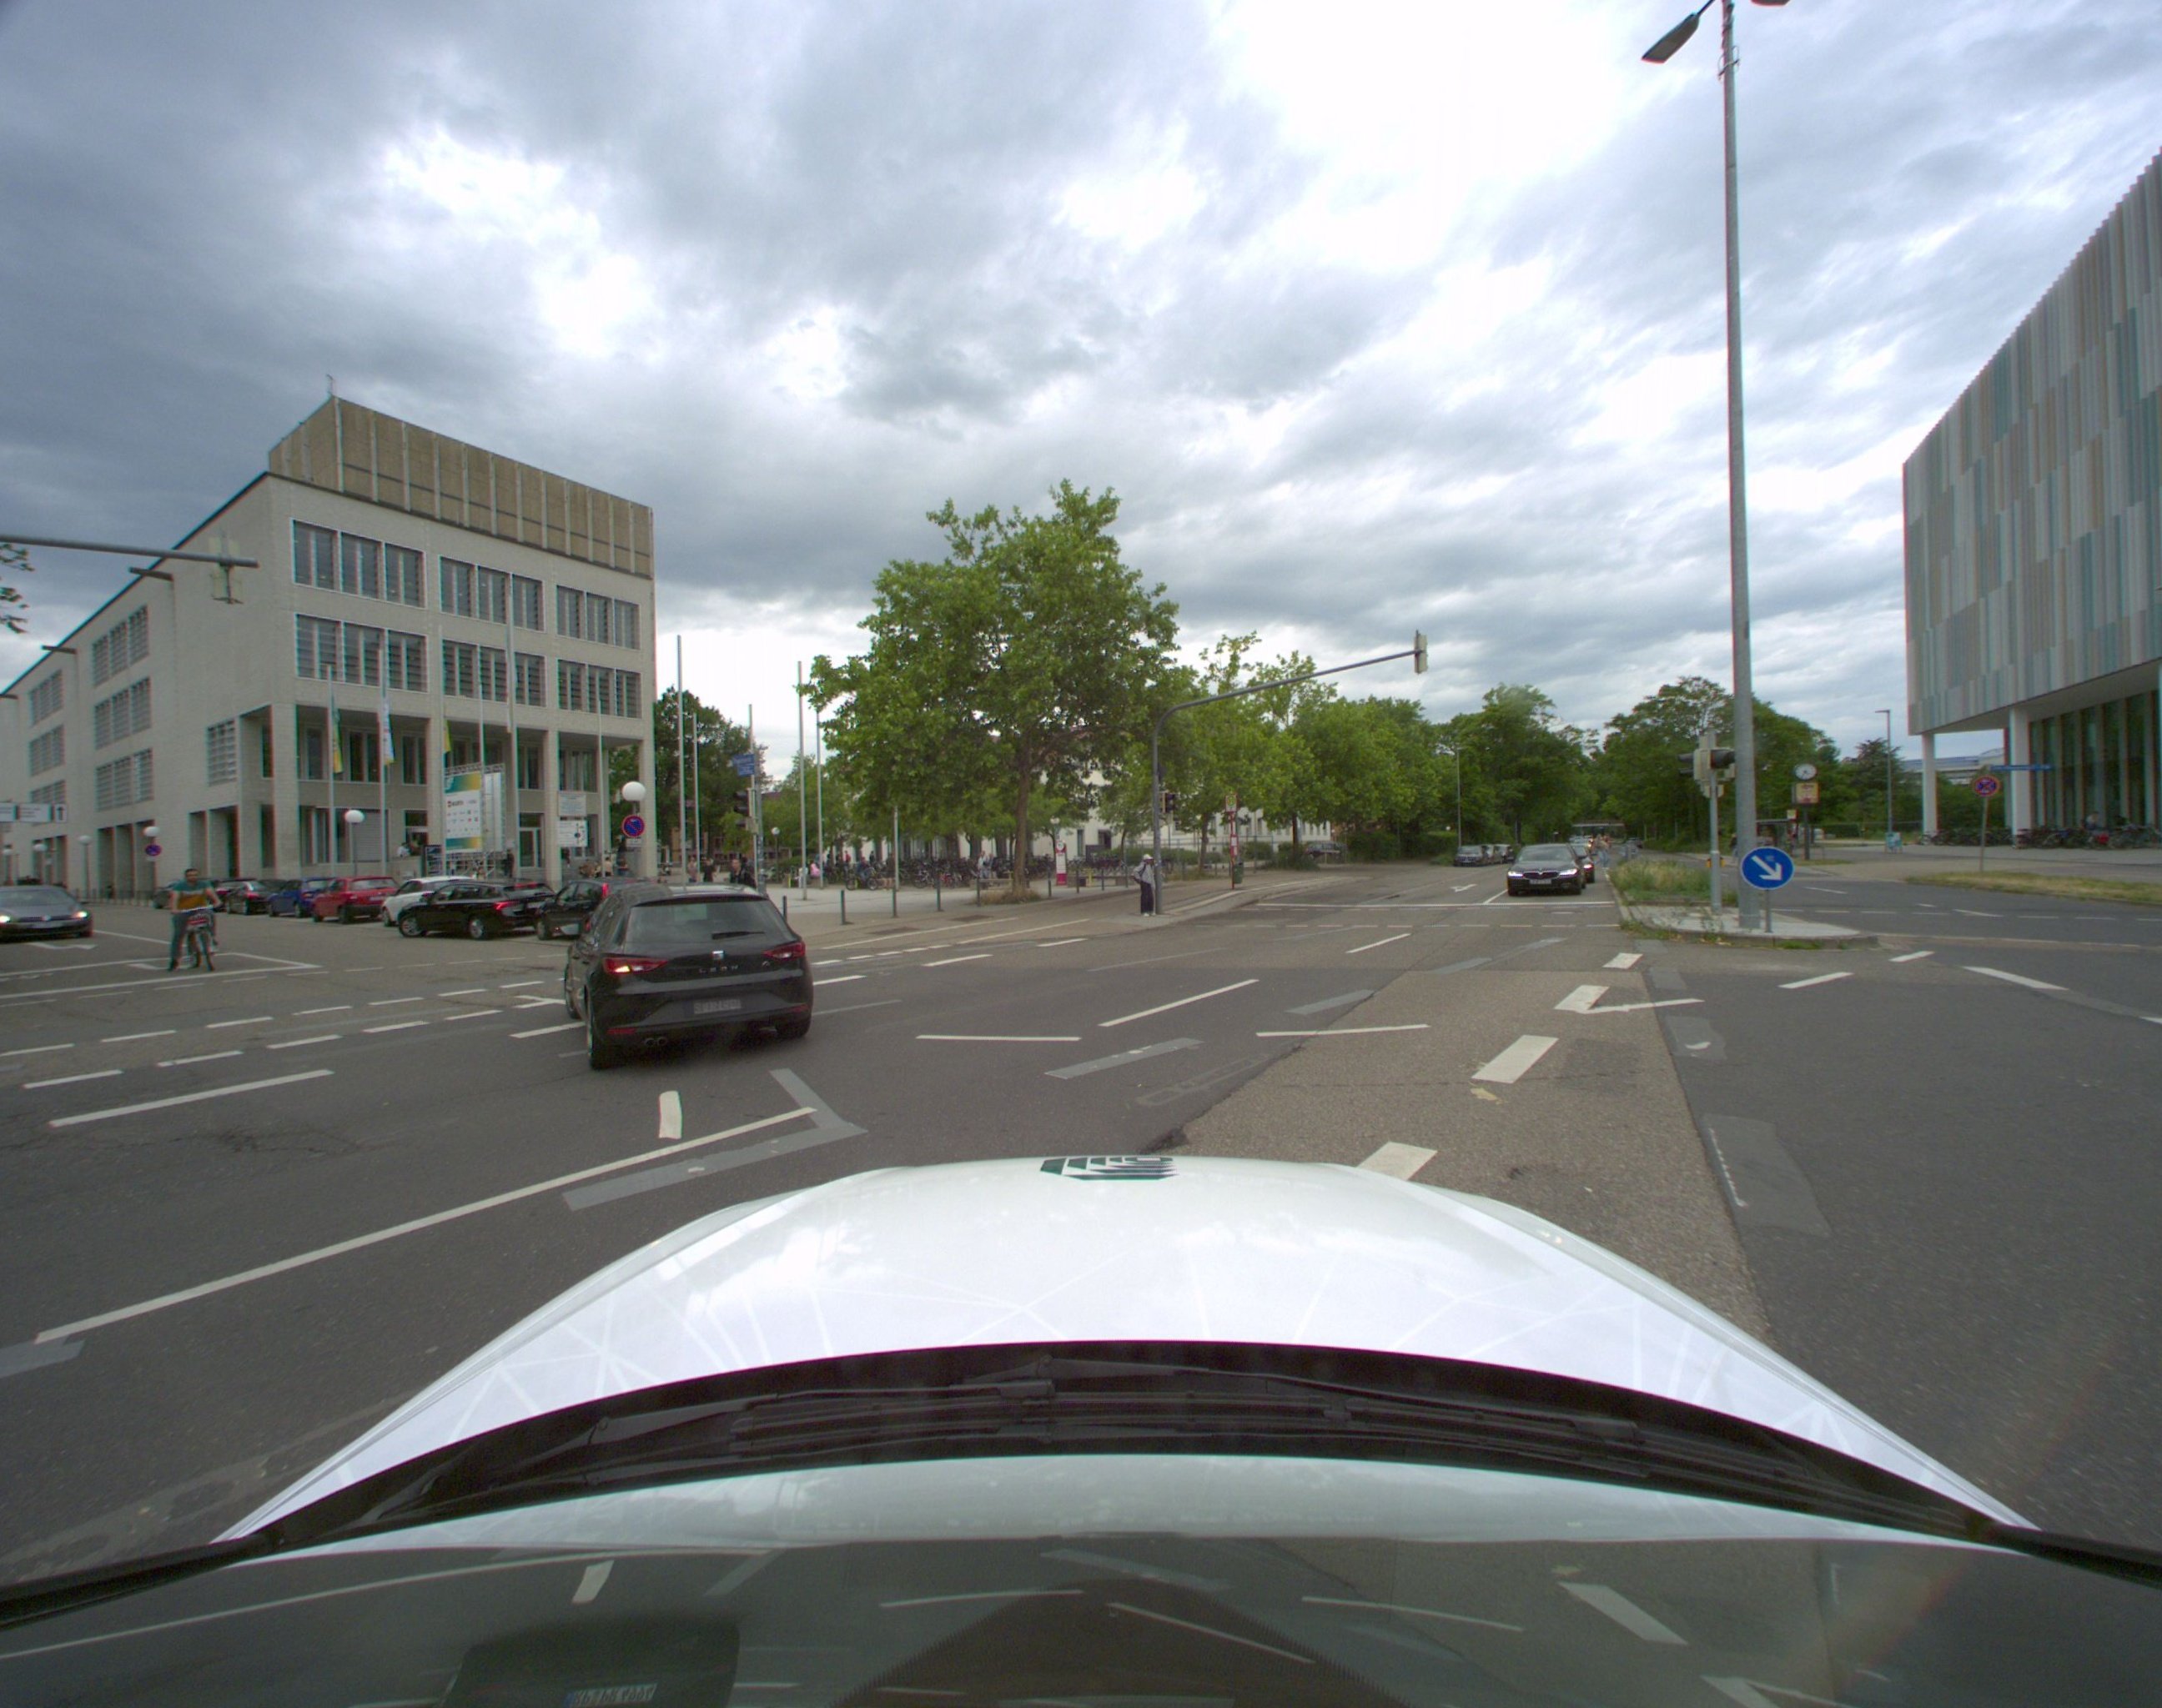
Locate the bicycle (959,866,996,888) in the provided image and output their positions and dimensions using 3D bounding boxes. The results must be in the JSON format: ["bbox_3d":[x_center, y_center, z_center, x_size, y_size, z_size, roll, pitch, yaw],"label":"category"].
[{"bbox_3d":[-5.220,1.166,41.058,1.911,1.049,0.460,-1,1,28],"label":"bicycle"}]

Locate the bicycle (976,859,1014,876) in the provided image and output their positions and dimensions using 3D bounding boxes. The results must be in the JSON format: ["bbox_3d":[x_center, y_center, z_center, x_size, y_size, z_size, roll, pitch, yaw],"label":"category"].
[{"bbox_3d":[-6.505,1.013,61.719,3.068,1.170,0.752,1,1,33],"label":"bicycle"}]

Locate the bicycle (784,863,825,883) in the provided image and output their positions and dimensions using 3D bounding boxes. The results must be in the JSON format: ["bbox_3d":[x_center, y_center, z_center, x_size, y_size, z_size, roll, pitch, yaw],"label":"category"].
[{"bbox_3d":[-17.568,1.172,51.769,3.068,1.170,0.752,1,1,34],"label":"bicycle"}]

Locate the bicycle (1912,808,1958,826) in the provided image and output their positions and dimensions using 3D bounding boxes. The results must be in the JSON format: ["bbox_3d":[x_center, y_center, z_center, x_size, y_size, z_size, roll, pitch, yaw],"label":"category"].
[{"bbox_3d":[59.153,-2.548,56.415,2.077,1.259,0.632,1,1,30],"label":"bicycle"}]

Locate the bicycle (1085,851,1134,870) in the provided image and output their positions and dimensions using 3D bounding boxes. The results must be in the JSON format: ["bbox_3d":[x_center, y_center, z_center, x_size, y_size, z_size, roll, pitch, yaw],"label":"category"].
[{"bbox_3d":[1.931,0.432,55.963,3.350,1.170,1.062,-3,-1,38],"label":"bicycle"}]

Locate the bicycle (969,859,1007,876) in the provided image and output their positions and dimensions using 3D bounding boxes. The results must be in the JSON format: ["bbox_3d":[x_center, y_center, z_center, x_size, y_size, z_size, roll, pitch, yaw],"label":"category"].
[{"bbox_3d":[-6.975,1.018,60.979,3.068,1.170,0.752,1,1,33],"label":"bicycle"}]

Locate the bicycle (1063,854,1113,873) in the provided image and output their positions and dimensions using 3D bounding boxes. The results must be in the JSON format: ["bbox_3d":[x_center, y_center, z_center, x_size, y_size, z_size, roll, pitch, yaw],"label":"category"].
[{"bbox_3d":[0.475,0.591,54.052,3.350,1.170,1.062,1,1,38],"label":"bicycle"}]

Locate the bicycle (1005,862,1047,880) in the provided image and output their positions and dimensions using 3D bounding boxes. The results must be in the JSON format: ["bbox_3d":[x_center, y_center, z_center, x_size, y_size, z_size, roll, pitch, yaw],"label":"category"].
[{"bbox_3d":[-3.829,1.168,56.359,3.068,1.170,0.752,1,1,34],"label":"bicycle"}]

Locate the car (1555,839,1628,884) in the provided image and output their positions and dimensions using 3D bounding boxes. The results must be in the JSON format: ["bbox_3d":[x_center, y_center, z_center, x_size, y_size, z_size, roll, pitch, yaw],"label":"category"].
[{"bbox_3d":[18.451,0.237,29.350,1.974,1.453,4.026,-2,0,35],"label":"car"}]

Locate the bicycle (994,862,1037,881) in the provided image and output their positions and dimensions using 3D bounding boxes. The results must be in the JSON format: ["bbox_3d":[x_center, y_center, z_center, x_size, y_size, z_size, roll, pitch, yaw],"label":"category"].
[{"bbox_3d":[-4.481,1.175,55.347,3.068,1.170,0.752,1,1,34],"label":"bicycle"}]

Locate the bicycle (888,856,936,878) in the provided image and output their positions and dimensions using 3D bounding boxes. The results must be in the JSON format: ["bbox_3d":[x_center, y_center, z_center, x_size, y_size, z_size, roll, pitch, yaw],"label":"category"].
[{"bbox_3d":[-9.693,0.708,46.742,3.068,1.170,0.752,1,1,34],"label":"bicycle"}]

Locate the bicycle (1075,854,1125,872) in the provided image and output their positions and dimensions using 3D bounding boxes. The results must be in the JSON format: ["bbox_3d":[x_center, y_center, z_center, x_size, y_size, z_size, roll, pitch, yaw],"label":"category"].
[{"bbox_3d":[1.262,0.585,55.073,3.350,1.170,1.062,1,1,38],"label":"bicycle"}]

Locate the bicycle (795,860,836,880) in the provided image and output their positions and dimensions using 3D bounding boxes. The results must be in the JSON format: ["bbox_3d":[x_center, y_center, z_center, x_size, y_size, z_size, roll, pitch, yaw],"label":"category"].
[{"bbox_3d":[-17.122,1.022,52.426,3.068,1.170,0.752,1,1,34],"label":"bicycle"}]

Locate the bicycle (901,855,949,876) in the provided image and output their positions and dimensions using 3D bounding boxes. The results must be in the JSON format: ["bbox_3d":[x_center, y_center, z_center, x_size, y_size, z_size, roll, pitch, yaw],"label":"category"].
[{"bbox_3d":[-9.156,0.688,47.790,3.067,1.170,0.753,-2,0,34],"label":"bicycle"}]

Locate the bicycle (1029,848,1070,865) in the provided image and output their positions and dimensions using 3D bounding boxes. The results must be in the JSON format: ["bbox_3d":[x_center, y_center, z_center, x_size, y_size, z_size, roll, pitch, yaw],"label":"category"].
[{"bbox_3d":[-2.307,0.156,58.770,3.068,1.170,0.752,1,1,34],"label":"bicycle"}]

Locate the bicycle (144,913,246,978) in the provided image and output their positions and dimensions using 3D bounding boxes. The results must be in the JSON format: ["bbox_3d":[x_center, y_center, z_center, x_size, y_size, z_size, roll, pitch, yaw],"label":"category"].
[{"bbox_3d":[-15.808,1.606,14.526,1.834,1.037,0.663,-2,1,25],"label":"bicycle"}]

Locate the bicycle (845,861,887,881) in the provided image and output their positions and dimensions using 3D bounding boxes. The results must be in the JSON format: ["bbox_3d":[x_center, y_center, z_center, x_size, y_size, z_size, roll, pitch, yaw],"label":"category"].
[{"bbox_3d":[-13.594,1.082,51.455,3.068,1.170,0.752,1,1,34],"label":"bicycle"}]

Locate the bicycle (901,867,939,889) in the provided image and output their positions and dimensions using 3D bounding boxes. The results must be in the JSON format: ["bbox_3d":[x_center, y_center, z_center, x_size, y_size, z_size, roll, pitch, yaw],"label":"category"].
[{"bbox_3d":[-8.285,1.232,41.860,1.913,1.049,0.459,-1,1,18],"label":"bicycle"}]

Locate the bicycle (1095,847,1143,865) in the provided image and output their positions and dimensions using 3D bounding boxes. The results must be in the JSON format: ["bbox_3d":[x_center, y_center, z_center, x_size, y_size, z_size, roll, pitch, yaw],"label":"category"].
[{"bbox_3d":[2.628,0.156,56.859,3.350,1.170,1.062,-2,0,38],"label":"bicycle"}]

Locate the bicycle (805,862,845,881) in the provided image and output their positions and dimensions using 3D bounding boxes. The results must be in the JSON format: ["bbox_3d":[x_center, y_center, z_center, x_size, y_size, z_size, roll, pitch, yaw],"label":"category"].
[{"bbox_3d":[-16.703,1.129,53.098,3.068,1.170,0.752,1,1,34],"label":"bicycle"}]

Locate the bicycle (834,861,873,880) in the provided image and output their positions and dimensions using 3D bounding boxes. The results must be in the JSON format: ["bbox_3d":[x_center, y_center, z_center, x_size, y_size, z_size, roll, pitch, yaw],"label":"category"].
[{"bbox_3d":[-15.520,1.108,55.538,3.068,1.170,0.752,1,1,34],"label":"bicycle"}]

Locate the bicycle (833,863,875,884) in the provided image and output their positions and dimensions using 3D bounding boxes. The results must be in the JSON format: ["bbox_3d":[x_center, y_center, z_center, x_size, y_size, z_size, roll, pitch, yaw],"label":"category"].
[{"bbox_3d":[-14.153,1.187,50.714,3.068,1.170,0.752,1,1,34],"label":"bicycle"}]

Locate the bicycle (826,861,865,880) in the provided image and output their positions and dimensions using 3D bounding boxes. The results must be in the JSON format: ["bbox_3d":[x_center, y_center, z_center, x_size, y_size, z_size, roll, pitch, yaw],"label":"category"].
[{"bbox_3d":[-15.870,1.115,54.790,3.068,1.170,0.752,1,1,34],"label":"bicycle"}]

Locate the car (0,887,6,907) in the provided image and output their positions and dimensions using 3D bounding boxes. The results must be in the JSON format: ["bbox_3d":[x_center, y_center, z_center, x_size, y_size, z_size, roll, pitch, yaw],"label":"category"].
[{"bbox_3d":[-89.021,3.561,65.863,4.371,1.622,2.013,-2,1,31],"label":"car"}]

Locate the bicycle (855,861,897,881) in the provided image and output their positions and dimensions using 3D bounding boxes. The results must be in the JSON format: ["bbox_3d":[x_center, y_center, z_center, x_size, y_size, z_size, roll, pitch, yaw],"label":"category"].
[{"bbox_3d":[-13.135,1.078,52.097,3.068,1.170,0.752,1,1,34],"label":"bicycle"}]

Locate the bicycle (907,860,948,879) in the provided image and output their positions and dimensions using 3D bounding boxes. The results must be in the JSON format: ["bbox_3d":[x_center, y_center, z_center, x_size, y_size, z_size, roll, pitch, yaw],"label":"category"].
[{"bbox_3d":[-10.620,1.047,56.232,3.068,1.170,0.752,1,1,33],"label":"bicycle"}]

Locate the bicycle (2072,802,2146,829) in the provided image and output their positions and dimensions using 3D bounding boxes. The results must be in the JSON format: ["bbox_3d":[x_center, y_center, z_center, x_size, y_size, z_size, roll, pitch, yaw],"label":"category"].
[{"bbox_3d":[48.713,-1.810,38.601,2.077,1.259,0.632,1,1,30],"label":"bicycle"}]

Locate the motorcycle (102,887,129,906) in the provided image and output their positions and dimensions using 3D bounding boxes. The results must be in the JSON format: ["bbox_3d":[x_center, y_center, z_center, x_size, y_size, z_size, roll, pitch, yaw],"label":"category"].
[{"bbox_3d":[-65.816,2.891,55.542,0.569,1.148,2.194,0,1,-33],"label":"motorcycle"}]

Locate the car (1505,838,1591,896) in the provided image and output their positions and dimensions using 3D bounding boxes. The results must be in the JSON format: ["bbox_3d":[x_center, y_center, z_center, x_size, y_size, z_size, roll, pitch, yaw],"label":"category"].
[{"bbox_3d":[13.882,0.347,24.087,1.974,1.489,4.319,-3,-1,32],"label":"car"}]

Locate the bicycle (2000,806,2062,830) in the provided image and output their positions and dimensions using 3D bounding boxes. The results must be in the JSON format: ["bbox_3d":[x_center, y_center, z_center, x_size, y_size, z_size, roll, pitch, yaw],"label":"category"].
[{"bbox_3d":[51.487,-1.949,44.148,2.077,1.259,0.632,1,1,30],"label":"bicycle"}]

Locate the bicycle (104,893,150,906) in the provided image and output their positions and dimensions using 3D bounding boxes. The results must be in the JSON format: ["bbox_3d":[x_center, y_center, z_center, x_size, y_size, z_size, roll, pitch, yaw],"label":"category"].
[{"bbox_3d":[-63.143,3.000,53.894,0.487,0.699,1.914,1,1,29],"label":"bicycle"}]

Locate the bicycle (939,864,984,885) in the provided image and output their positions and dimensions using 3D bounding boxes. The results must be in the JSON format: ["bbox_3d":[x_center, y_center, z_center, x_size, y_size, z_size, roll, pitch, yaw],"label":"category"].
[{"bbox_3d":[-7.464,1.252,50.726,3.068,1.170,0.752,1,1,34],"label":"bicycle"}]

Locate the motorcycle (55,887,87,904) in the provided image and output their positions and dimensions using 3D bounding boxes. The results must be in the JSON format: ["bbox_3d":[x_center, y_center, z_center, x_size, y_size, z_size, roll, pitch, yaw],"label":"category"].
[{"bbox_3d":[-79.670,3.259,64.263,0.764,1.148,2.635,0,1,-33],"label":"motorcycle"}]

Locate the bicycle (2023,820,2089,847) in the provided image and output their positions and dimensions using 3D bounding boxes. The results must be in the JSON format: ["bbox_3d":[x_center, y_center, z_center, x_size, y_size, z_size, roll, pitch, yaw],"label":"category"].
[{"bbox_3d":[50.429,-1.051,42.139,2.077,1.259,0.632,-2,0,30],"label":"bicycle"}]

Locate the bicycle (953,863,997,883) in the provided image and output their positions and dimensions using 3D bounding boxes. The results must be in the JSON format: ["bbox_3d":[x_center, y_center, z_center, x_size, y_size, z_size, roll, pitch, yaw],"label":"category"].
[{"bbox_3d":[-6.744,1.203,51.661,3.068,1.170,0.752,1,1,34],"label":"bicycle"}]

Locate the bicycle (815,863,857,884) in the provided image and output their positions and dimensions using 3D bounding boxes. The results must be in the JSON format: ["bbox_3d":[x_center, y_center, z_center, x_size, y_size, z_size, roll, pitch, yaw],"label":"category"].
[{"bbox_3d":[-14.912,1.196,49.453,3.068,1.170,0.626,1,1,34],"label":"bicycle"}]

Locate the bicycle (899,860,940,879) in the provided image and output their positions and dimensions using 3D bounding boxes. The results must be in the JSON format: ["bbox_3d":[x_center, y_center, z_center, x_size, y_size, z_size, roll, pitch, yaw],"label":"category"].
[{"bbox_3d":[-11.065,1.051,55.585,3.068,1.170,0.752,1,1,33],"label":"bicycle"}]

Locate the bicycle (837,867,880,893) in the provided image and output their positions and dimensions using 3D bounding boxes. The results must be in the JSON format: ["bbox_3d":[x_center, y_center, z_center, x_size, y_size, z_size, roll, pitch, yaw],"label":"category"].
[{"bbox_3d":[-10.985,1.274,40.203,2.384,1.170,0.460,1,1,28],"label":"bicycle"}]

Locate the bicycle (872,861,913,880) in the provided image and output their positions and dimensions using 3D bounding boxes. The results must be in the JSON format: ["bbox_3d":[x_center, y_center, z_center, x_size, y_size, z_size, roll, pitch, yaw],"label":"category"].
[{"bbox_3d":[-12.382,1.067,53.471,3.068,1.170,0.752,1,1,34],"label":"bicycle"}]

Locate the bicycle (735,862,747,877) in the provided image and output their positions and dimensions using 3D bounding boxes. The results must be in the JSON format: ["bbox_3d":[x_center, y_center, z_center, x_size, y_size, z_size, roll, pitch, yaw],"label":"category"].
[{"bbox_3d":[-26.814,1.218,64.210,0.877,1.093,1.787,-2,0,-23],"label":"bicycle"}]

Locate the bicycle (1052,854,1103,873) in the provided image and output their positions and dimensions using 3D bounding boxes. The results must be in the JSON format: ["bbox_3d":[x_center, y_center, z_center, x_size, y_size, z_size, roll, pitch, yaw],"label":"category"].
[{"bbox_3d":[-0.225,0.600,52.890,3.350,1.170,1.062,1,1,38],"label":"bicycle"}]

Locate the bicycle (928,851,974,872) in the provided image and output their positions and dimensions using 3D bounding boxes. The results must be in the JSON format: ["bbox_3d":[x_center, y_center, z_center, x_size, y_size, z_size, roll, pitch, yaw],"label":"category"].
[{"bbox_3d":[-7.914,0.448,49.646,3.068,1.170,0.752,1,1,34],"label":"bicycle"}]

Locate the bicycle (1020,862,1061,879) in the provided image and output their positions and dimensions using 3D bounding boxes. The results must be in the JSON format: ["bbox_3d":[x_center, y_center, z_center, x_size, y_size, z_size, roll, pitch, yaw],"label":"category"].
[{"bbox_3d":[-2.870,1.156,57.940,3.068,1.170,0.752,1,1,34],"label":"bicycle"}]

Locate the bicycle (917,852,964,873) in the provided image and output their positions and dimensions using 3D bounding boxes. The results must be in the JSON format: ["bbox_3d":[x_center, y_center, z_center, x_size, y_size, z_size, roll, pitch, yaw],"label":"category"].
[{"bbox_3d":[-8.457,0.518,48.762,3.067,1.170,0.753,-2,0,34],"label":"bicycle"}]
